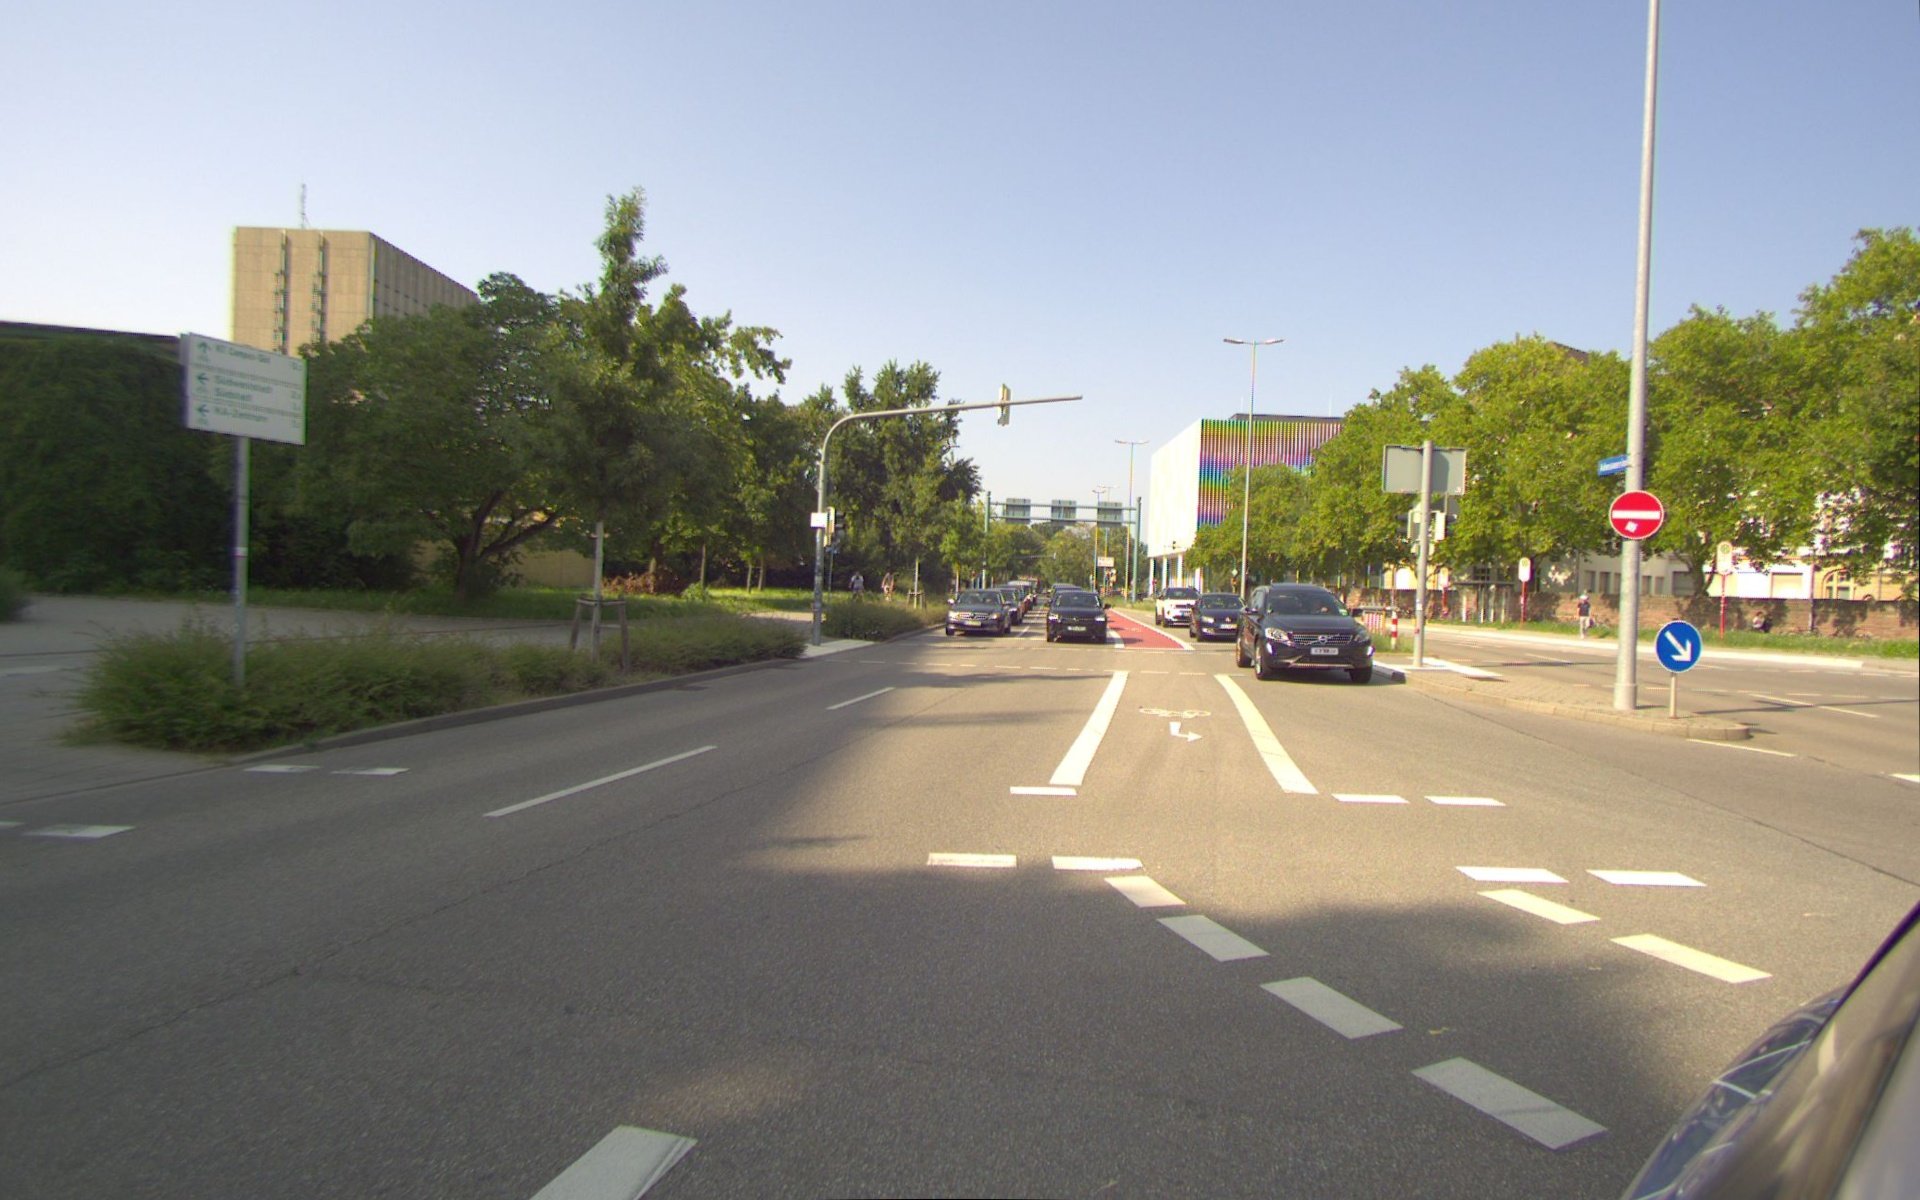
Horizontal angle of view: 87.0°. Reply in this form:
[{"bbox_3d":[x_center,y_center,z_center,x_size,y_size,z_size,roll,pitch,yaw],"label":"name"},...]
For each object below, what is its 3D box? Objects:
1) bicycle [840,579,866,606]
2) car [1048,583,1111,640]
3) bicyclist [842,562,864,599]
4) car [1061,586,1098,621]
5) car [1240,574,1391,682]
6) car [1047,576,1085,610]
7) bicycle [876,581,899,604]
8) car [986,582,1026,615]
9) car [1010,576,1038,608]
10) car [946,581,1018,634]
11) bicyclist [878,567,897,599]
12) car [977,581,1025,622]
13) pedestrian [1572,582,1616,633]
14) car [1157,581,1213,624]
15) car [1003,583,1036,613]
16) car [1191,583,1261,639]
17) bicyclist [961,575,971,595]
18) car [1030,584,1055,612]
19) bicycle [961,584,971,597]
[{"bbox_3d":[-4.792,-0.357,45.398,0.760,1.131,2.301,2,1,4],"label":"bicycle"},{"bbox_3d":[3.482,0.264,29.153,1.660,1.510,4.363,1,1,8],"label":"car"},{"bbox_3d":[-4.781,-0.872,45.295,0.760,1.613,0.923,2,1,4],"label":"bicyclist"},{"bbox_3d":[6.366,0.149,54.382,1.752,1.625,4.417,3,3,5],"label":"car"},{"bbox_3d":[6.353,0.418,18.591,1.969,1.653,4.357,2,1,12],"label":"car"},{"bbox_3d":[5.041,-0.351,48.415,1.659,1.510,4.366,2,1,6],"label":"car"},{"bbox_3d":[-3.745,-0.389,52.314,0.760,1.131,2.300,2,1,6],"label":"bicycle"},{"bbox_3d":[2.272,-0.107,49.293,1.659,1.510,4.366,2,1,6],"label":"car"},{"bbox_3d":[4.117,-0.542,65.086,1.658,1.966,4.369,2,1,3],"label":"car"},{"bbox_3d":[0.761,0.179,31.600,1.660,1.460,4.362,2,1,9],"label":"car"},{"bbox_3d":[-3.735,-0.894,52.279,0.760,1.613,0.922,1,1,7],"label":"bicyclist"},{"bbox_3d":[1.718,0.023,41.208,1.659,1.510,4.666,2,1,6],"label":"car"},{"bbox_3d":[25.924,0.301,41.411,1.062,2.039,1.315,1,1,9],"label":"pedestrian"},{"bbox_3d":[9.241,0.055,41.815,1.967,1.654,4.362,1,1,9],"label":"car"},{"bbox_3d":[3.264,-0.146,54.695,1.658,1.510,4.367,2,1,5],"label":"car"},{"bbox_3d":[7.982,0.283,30.624,1.599,1.516,3.841,2,1,9],"label":"car"},{"bbox_3d":[0.514,-1.318,86.501,0.759,1.697,0.924,1,1,2],"label":"bicyclist"},{"bbox_3d":[6.181,-0.147,76.375,1.657,1.966,4.071,2,1,3],"label":"car"},{"bbox_3d":[0.514,-0.815,86.536,0.759,1.131,2.303,1,1,2],"label":"bicycle"}]
